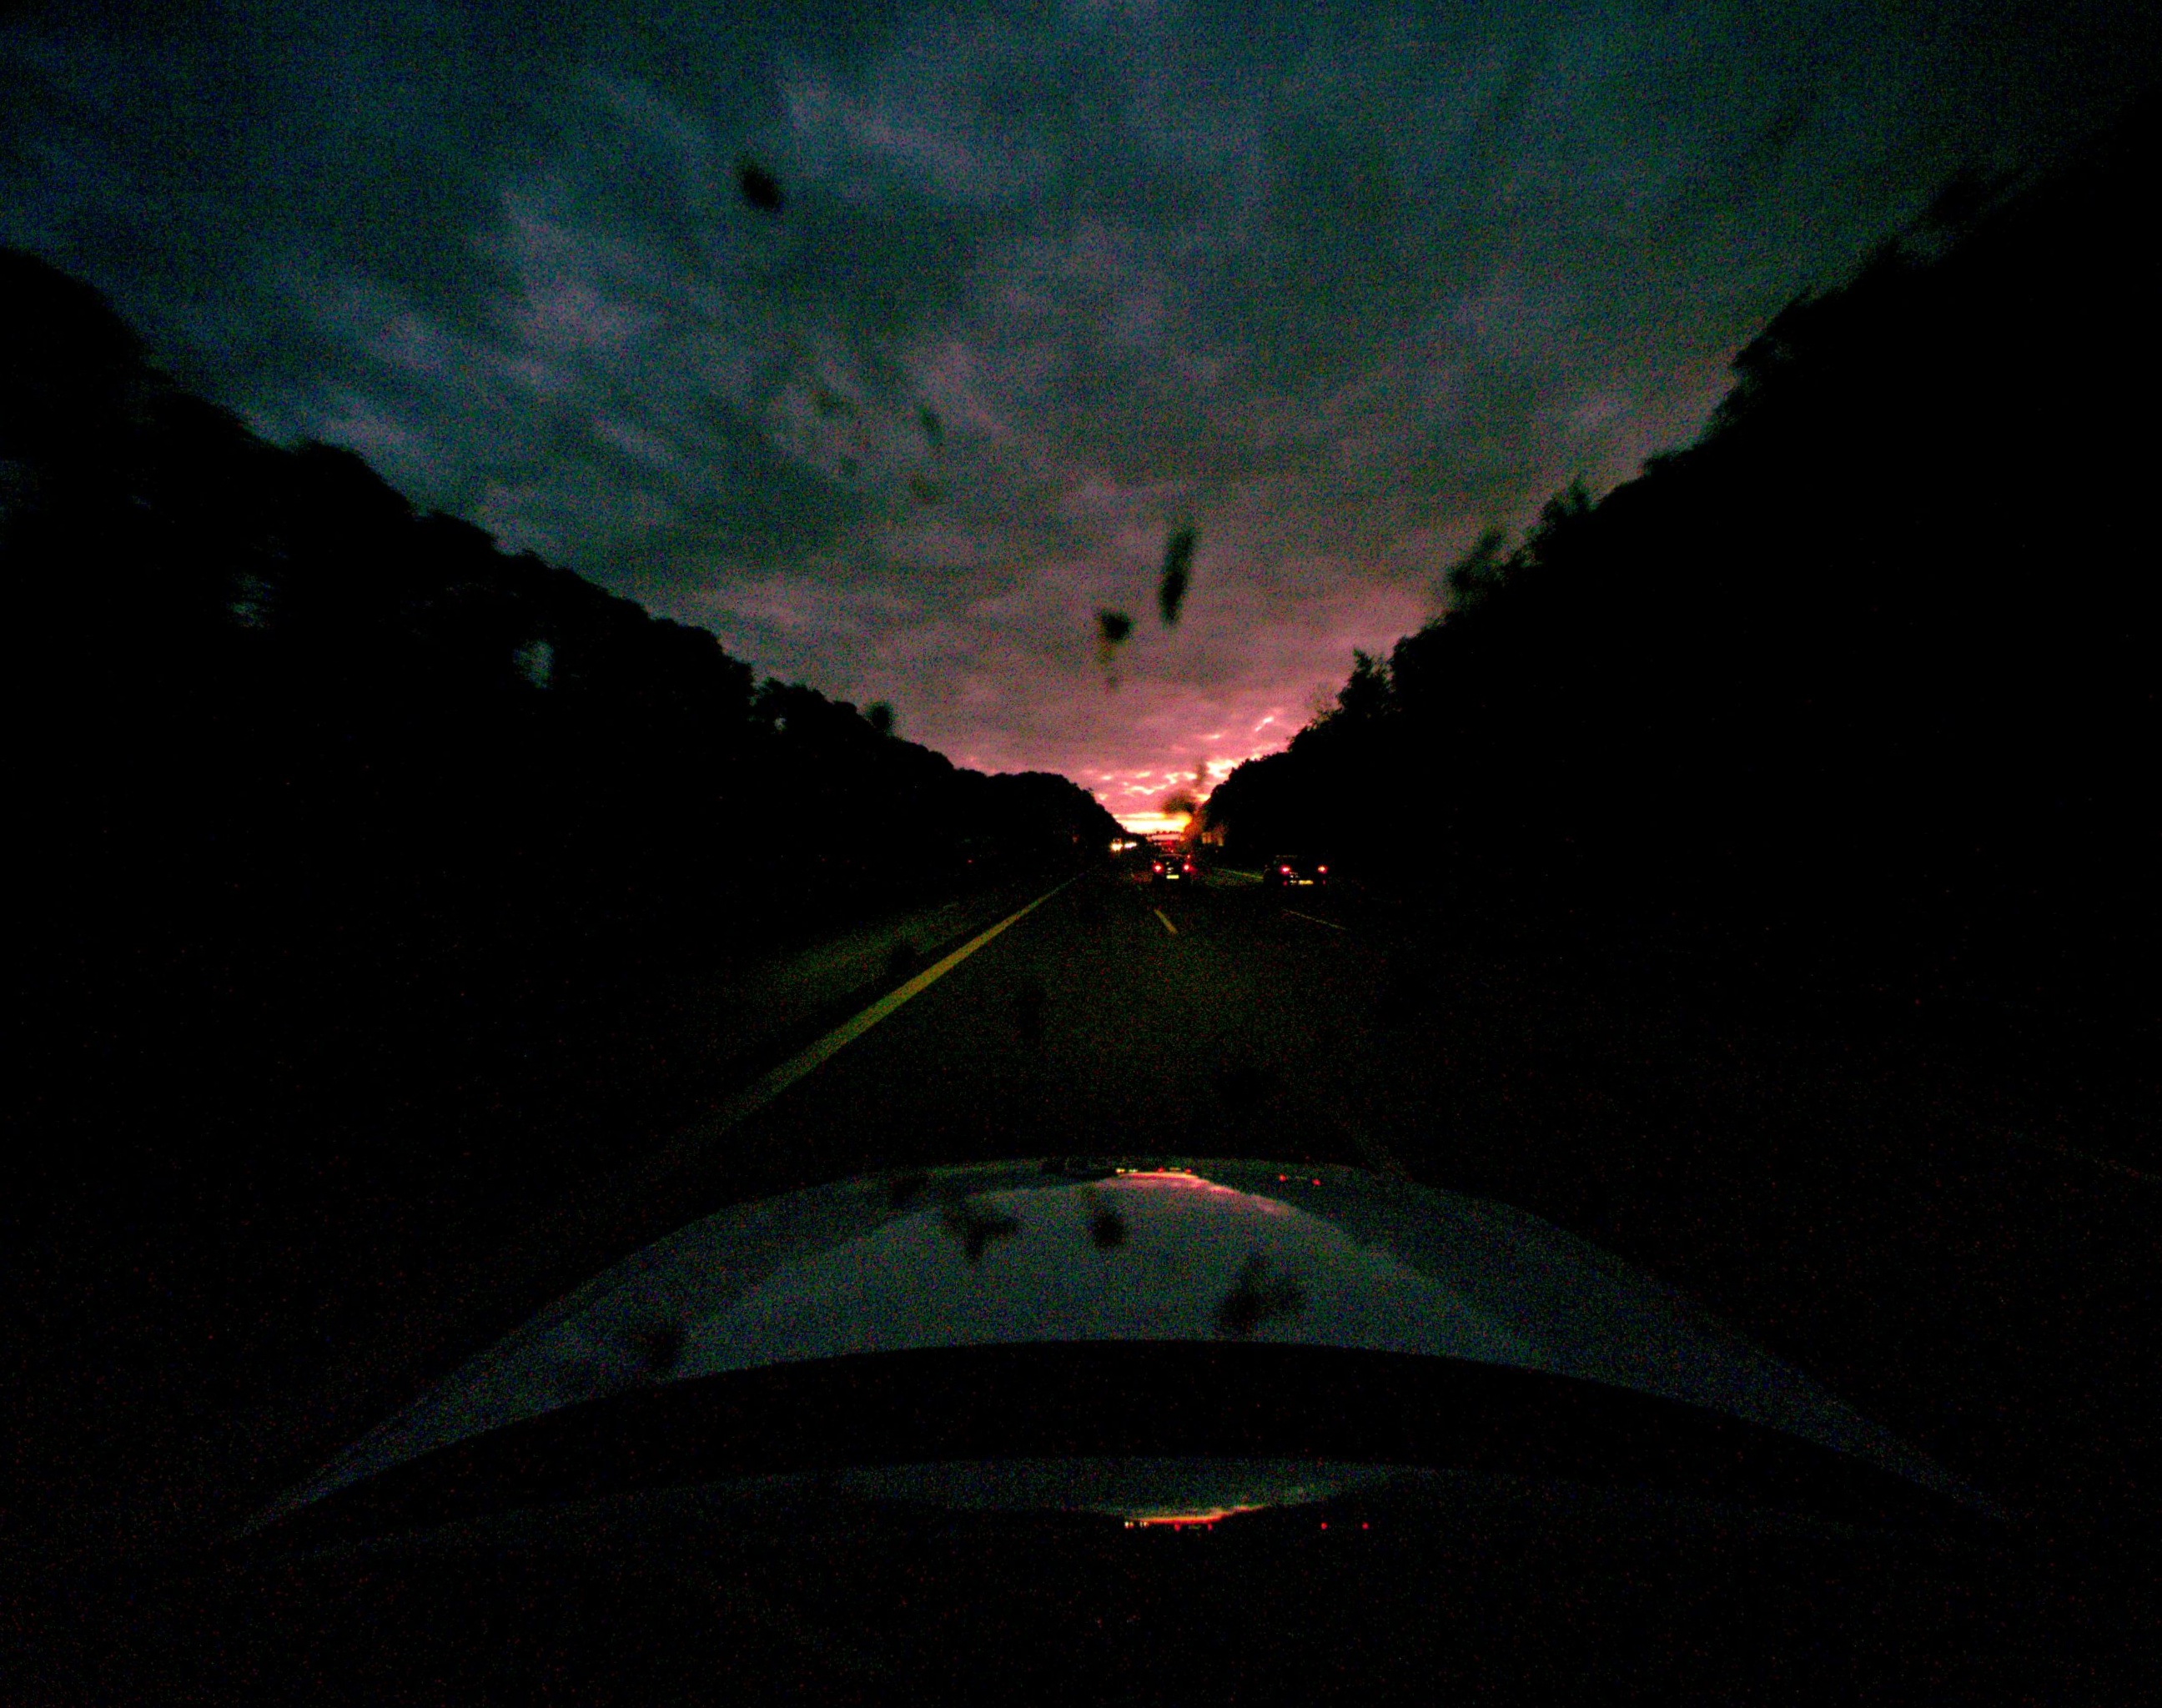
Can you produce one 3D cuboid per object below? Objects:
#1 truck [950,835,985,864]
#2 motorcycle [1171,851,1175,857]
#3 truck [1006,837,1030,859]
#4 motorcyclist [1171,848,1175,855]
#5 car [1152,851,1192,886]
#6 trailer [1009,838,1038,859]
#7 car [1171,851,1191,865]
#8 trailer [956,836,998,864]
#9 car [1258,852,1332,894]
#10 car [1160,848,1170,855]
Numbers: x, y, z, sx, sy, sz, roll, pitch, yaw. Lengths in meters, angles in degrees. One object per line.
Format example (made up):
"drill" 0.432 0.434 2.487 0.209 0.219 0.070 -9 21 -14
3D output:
"truck" -16.955 -0.619 121.737 3.174 4.104 7.705 -1 0 7
"motorcycle" 17.300 0.013 153.009 0.825 1.134 2.480 -2 0 6
"truck" -12.431 -1.178 162.415 3.174 4.104 7.705 -1 0 7
"motorcyclist" 17.273 -0.506 152.940 0.825 1.291 1.192 -2 0 6
"car" 4.155 0.654 37.692 1.696 1.509 4.237 -1 0 5
"trailer" -11.747 -1.150 167.986 3.174 4.104 14.212 -1 0 7
"car" 11.148 0.459 91.348 1.819 1.476 4.400 -1 0 2
"trailer" -16.212 -0.699 128.029 3.174 4.104 13.766 -1 0 7
"car" 8.091 0.670 31.171 1.857 1.435 4.588 -1 0 3
"car" 18.257 -0.456 176.312 1.858 1.494 4.400 -1 0 2
